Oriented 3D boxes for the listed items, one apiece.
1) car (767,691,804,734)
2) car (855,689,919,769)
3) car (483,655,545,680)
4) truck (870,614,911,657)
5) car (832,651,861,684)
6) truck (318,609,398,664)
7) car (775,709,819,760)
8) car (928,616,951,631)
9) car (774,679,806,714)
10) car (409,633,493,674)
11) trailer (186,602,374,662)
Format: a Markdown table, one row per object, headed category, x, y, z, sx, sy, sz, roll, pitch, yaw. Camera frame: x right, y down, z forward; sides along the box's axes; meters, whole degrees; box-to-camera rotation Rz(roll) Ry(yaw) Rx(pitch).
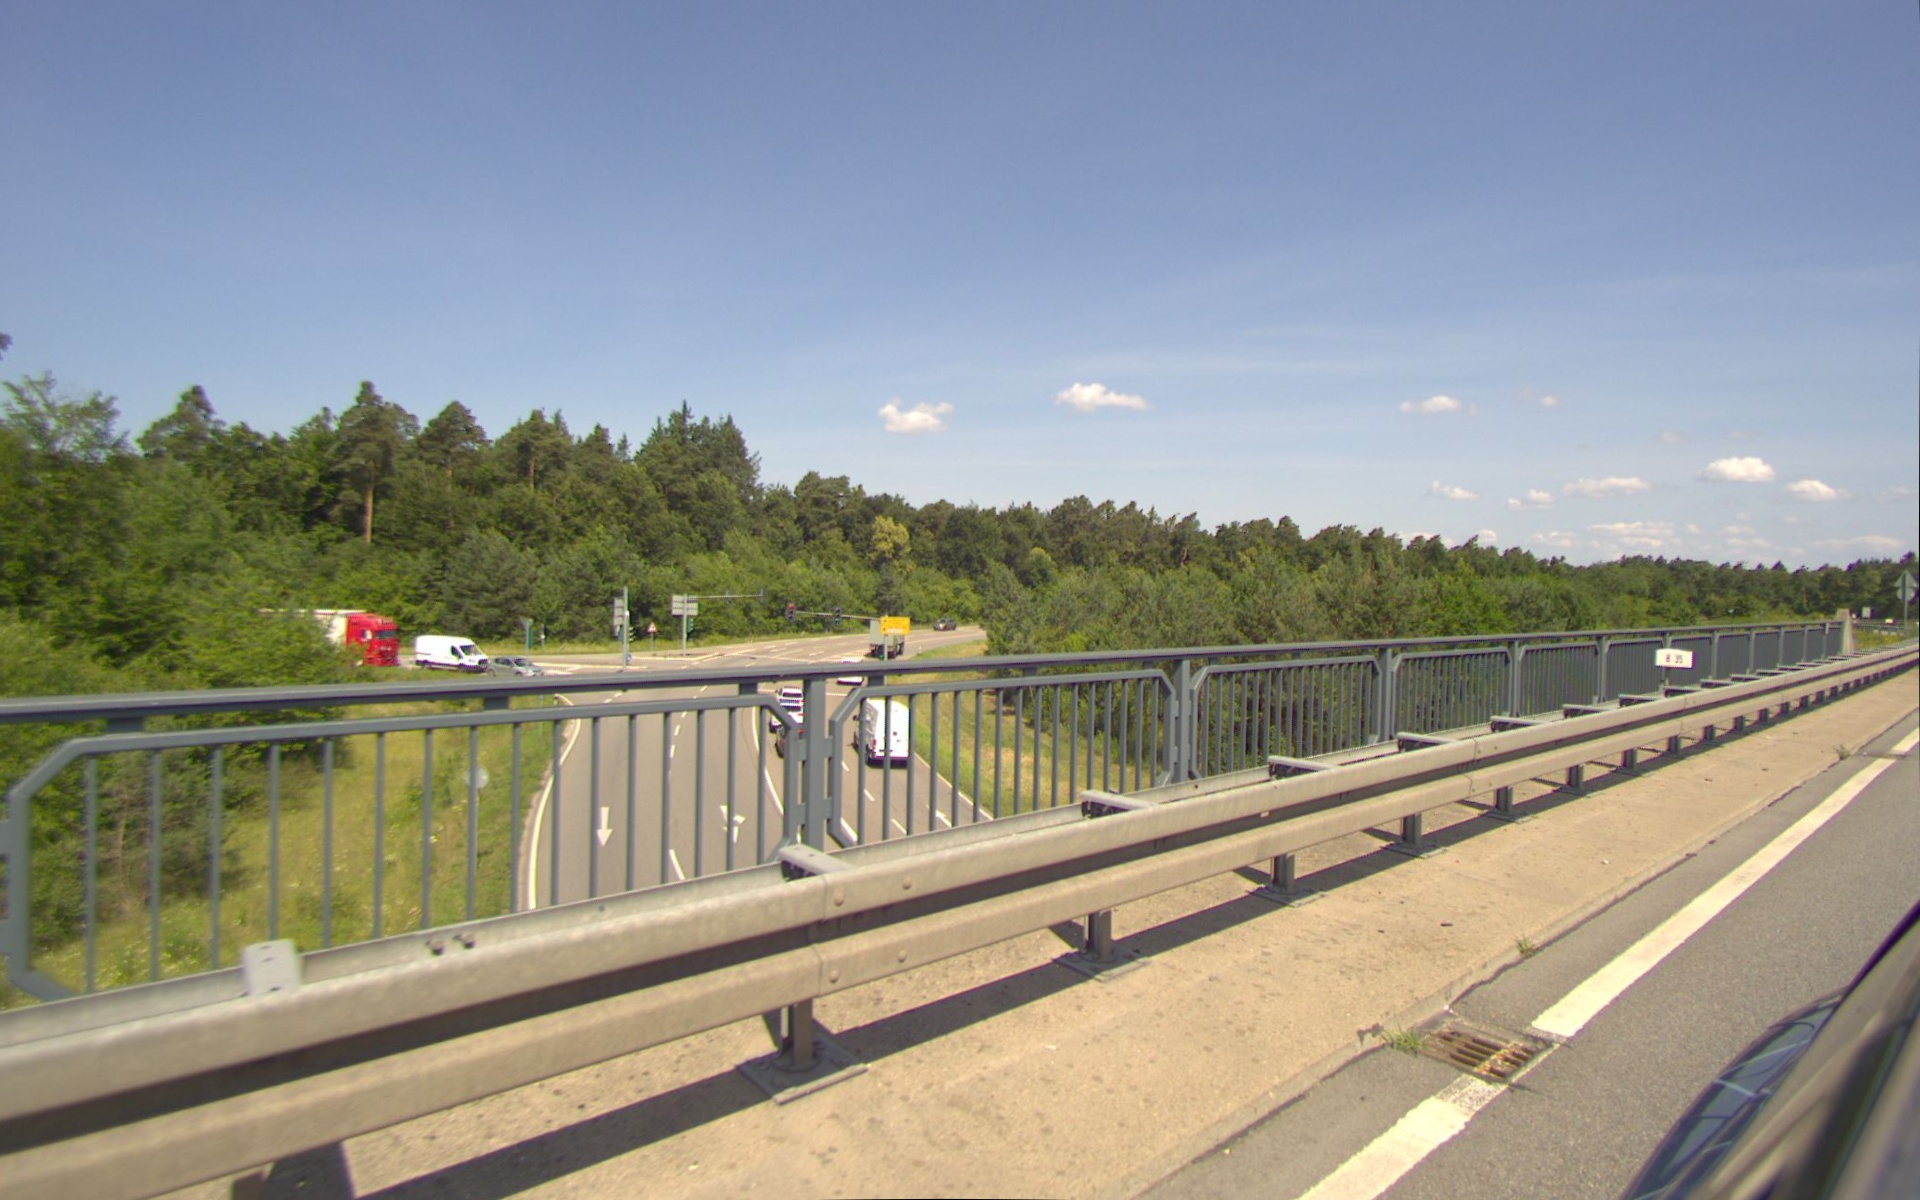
| category | x | y | z | sx | sy | sz | roll | pitch | yaw |
| --- | --- | --- | --- | --- | --- | --- | --- | --- | --- |
| car | -9.340 | 5.975 | 54.052 | 1.721 | 1.652 | 4.141 | 4 | 0 | -12 |
| car | -3.531 | 5.967 | 47.646 | 1.994 | 2.683 | 6.367 | 3 | 2 | -12 |
| car | -30.657 | 4.584 | 69.507 | 3.735 | 1.463 | 1.752 | 2 | -2 | 22 |
| truck | -7.107 | 3.550 | 104.491 | 2.254 | 3.765 | 9.005 | 3 | 2 | 8 |
| car | -8.824 | 5.244 | 79.229 | 1.869 | 1.989 | 5.239 | 4 | 0 | -4 |
| truck | -43.947 | 2.652 | 73.932 | 4.346 | 3.703 | 2.226 | 3 | -2 | 6 |
| car | -7.690 | 6.240 | 47.410 | 1.721 | 1.652 | 4.377 | 4 | 0 | -12 |
| car | -2.964 | 3.379 | 145.178 | 1.881 | 1.989 | 4.414 | 4 | 0 | 17 |
| car | -10.399 | 5.864 | 61.775 | 1.666 | 1.459 | 4.406 | 4 | 1 | -12 |
| car | -36.518 | 3.822 | 72.568 | 5.364 | 2.566 | 1.989 | 2 | -2 | 17 |
| trailer | -50.083 | 2.353 | 74.591 | 12.934 | 3.703 | 2.256 | 3 | -2 | 6 |
